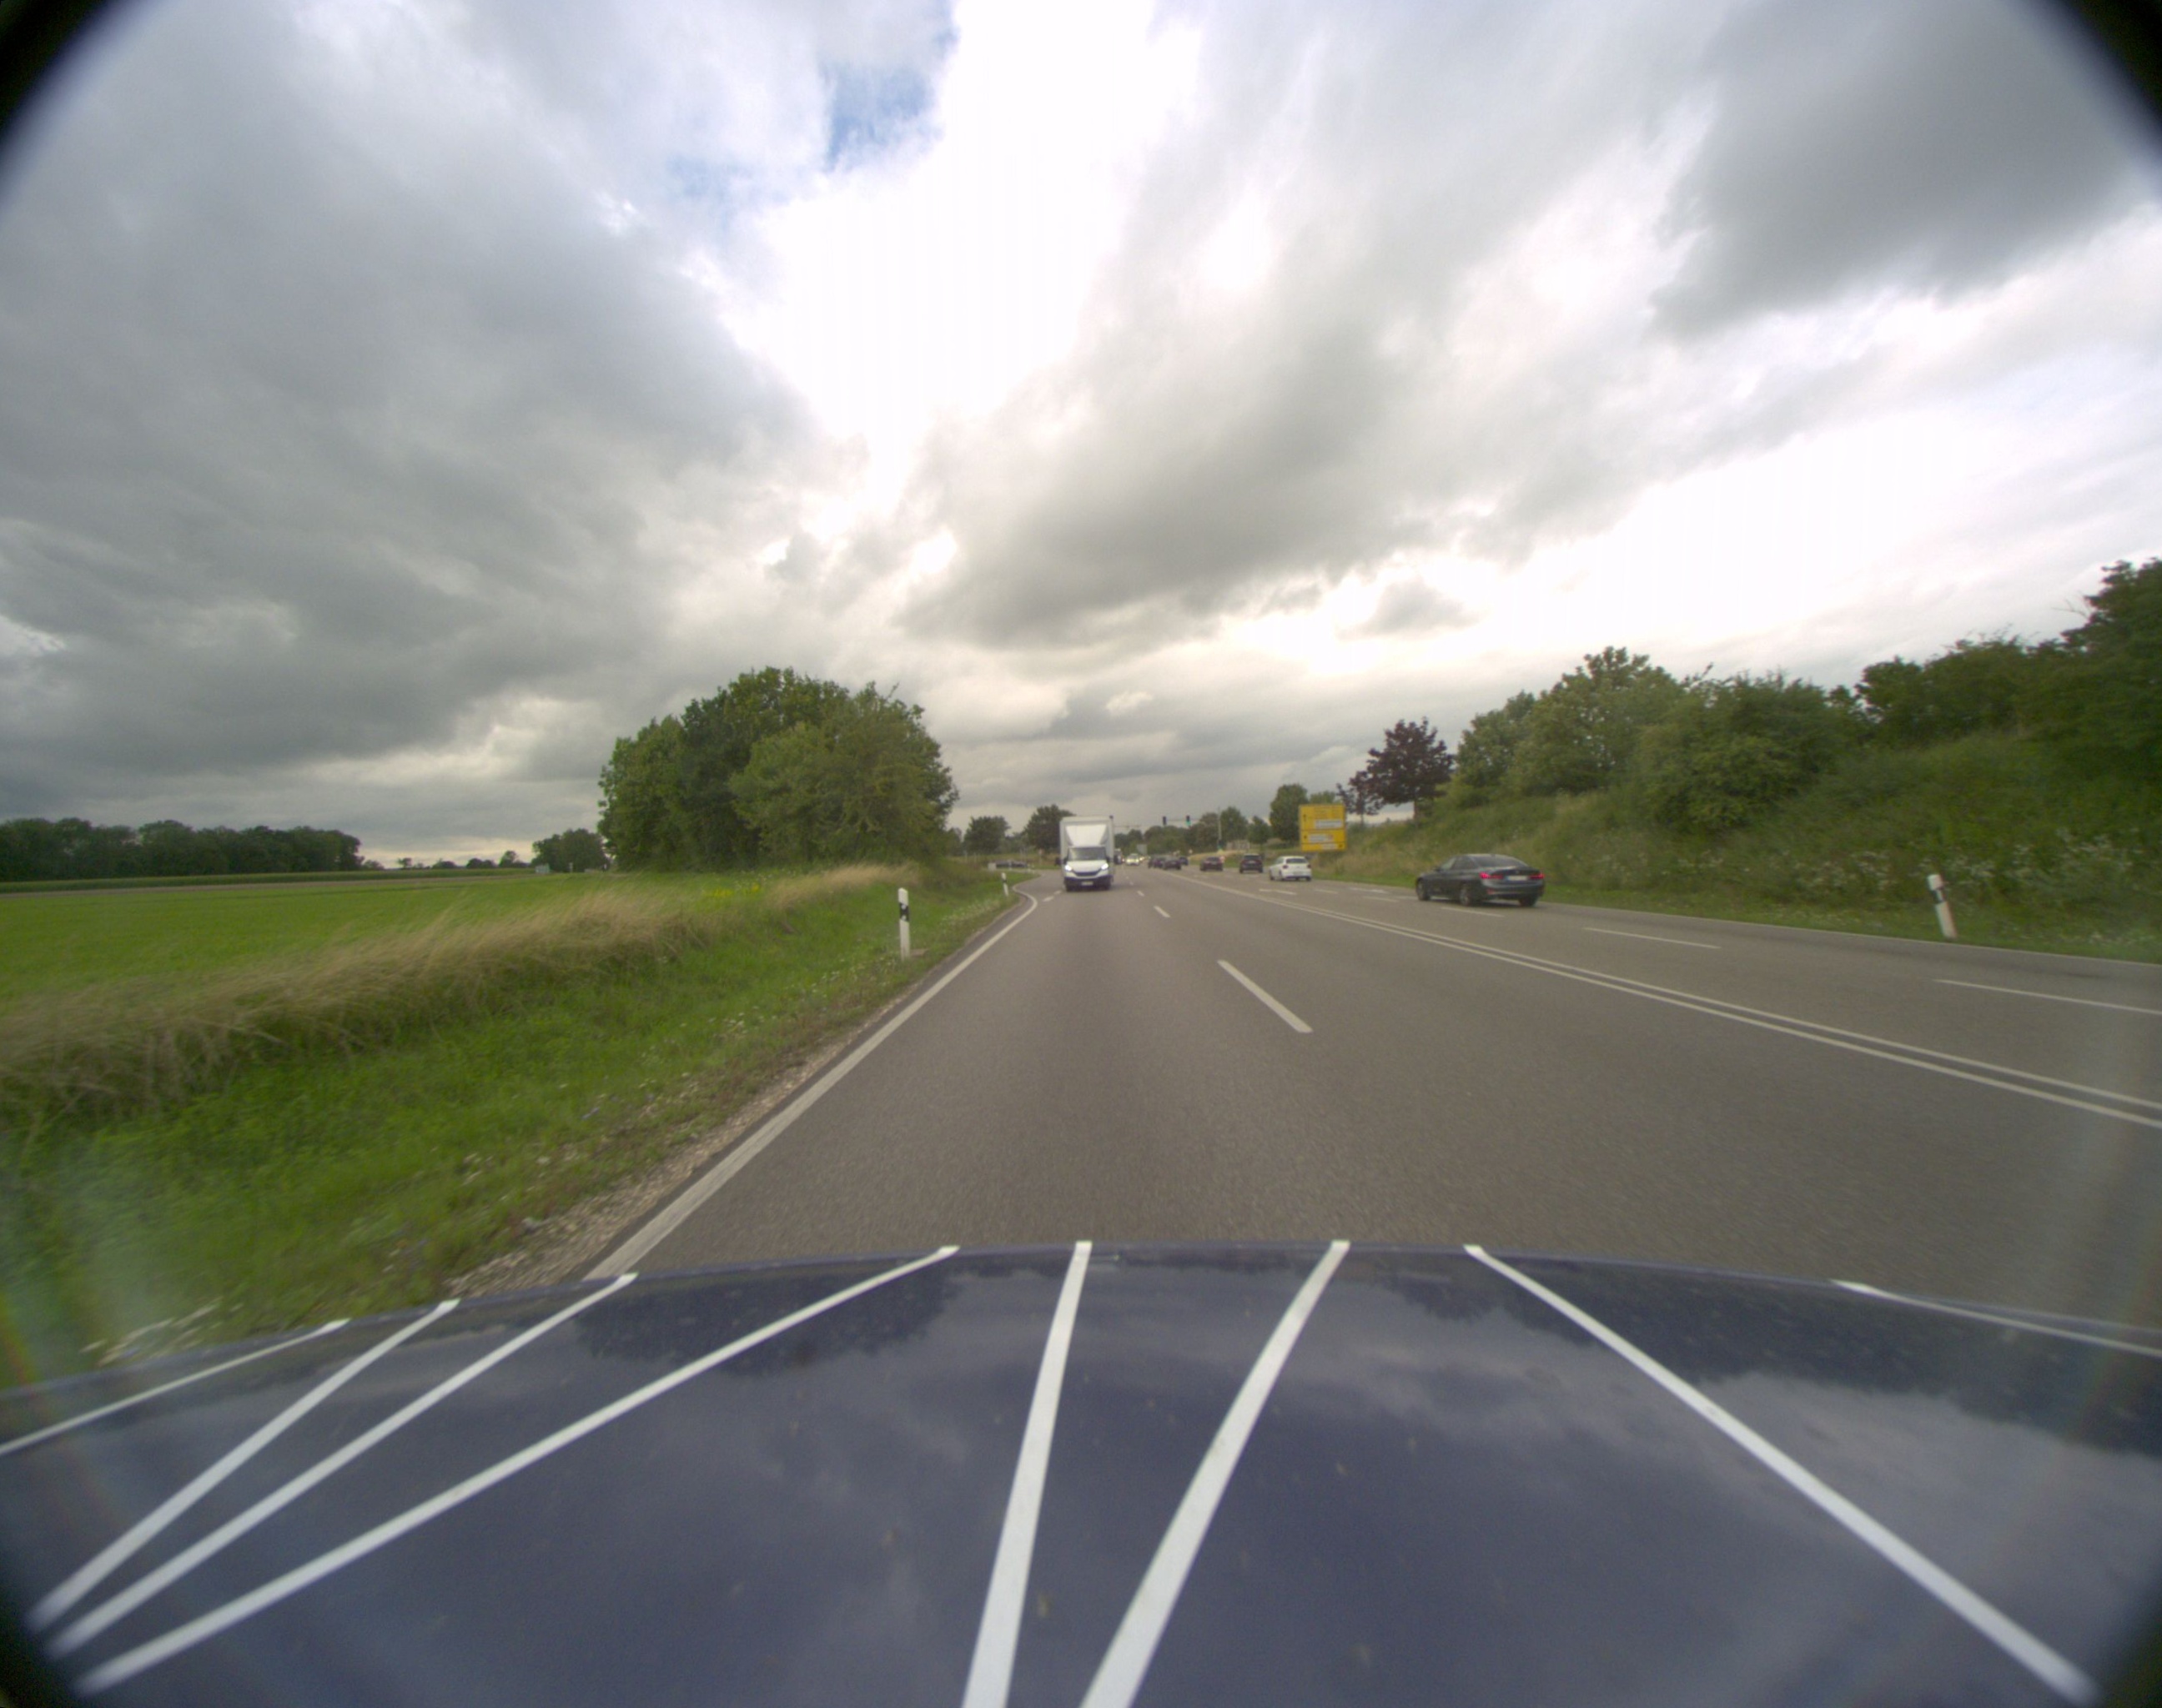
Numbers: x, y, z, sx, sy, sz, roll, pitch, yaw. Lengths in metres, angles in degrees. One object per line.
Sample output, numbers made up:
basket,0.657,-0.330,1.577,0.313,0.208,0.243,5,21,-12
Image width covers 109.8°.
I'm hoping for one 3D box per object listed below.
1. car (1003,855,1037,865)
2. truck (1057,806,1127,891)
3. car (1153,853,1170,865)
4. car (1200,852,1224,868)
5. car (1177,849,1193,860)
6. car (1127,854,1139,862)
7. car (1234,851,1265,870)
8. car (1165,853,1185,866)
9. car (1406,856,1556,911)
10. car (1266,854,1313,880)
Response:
car,-8.362,0.826,104.854,4.344,1.214,1.866,-2,0,5
truck,0.383,-0.242,38.146,2.935,3.652,8.441,-3,0,-1
car,10.015,0.650,94.709,1.860,1.440,4.001,-1,0,3
car,12.873,0.591,74.810,1.727,1.472,4.660,-1,0,3
car,16.181,0.086,118.645,1.855,1.706,4.129,-3,0,1
car,8.524,0.646,124.688,1.860,1.274,4.001,-1,0,3
car,14.428,0.527,65.108,1.860,1.586,4.399,-1,0,3
car,10.252,0.588,83.358,1.860,1.399,4.186,-1,0,3
car,11.165,0.753,21.643,1.798,1.397,4.705,0,0,0
car,12.154,0.710,44.447,1.612,1.406,4.056,-2,0,0
